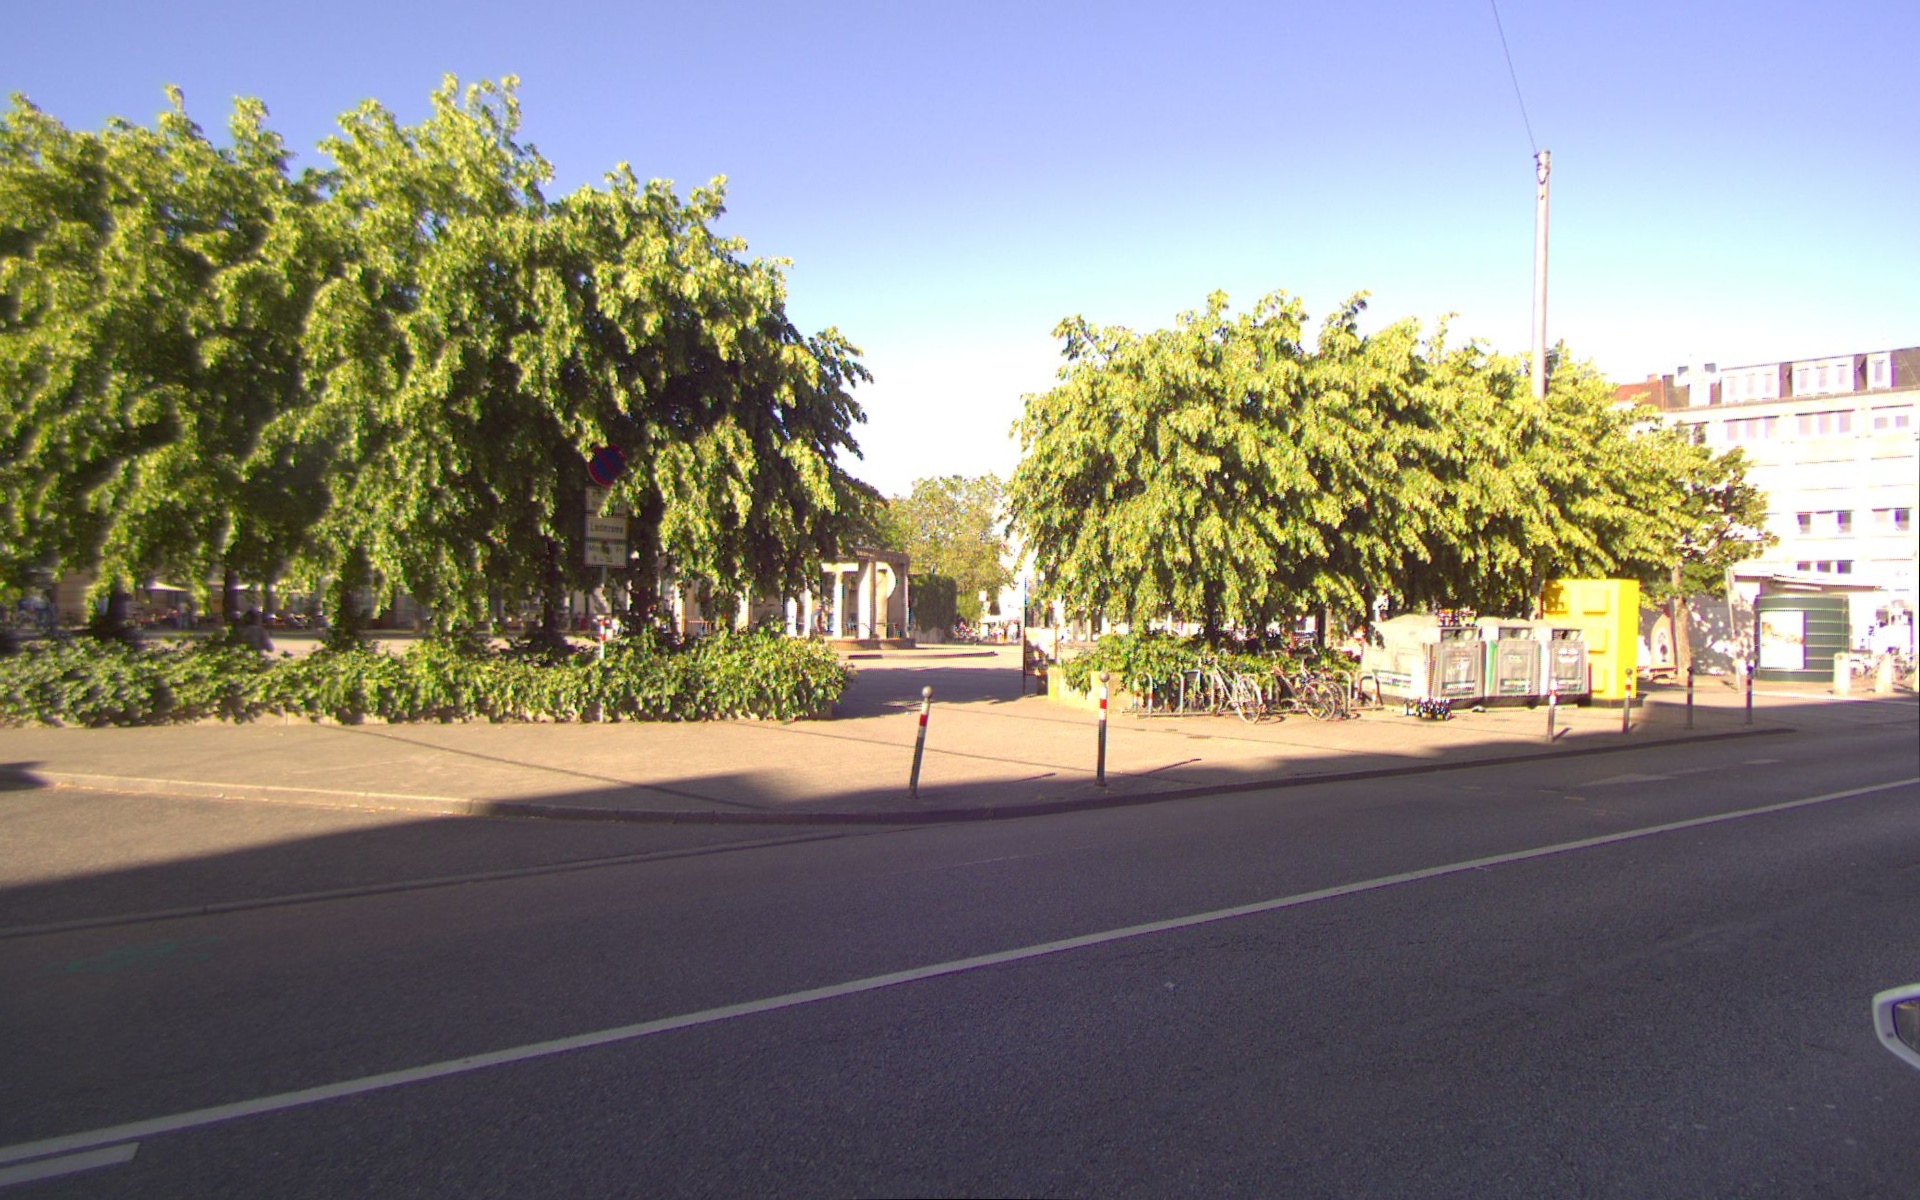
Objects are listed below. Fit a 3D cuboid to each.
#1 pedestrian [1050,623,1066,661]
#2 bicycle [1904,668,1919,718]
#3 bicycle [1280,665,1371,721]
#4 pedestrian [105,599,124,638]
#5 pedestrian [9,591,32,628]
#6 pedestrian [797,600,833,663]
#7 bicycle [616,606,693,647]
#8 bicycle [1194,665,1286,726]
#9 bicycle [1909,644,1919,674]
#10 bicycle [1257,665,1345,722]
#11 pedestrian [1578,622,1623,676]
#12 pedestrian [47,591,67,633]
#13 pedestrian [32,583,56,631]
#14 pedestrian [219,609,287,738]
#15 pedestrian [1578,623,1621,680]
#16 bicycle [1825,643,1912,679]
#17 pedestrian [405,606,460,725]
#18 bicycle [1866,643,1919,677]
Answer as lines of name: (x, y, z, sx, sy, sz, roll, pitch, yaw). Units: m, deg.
pedestrian: (5.373, 2.320, 55.173, 0.670, 2.040, 0.579, 2, 0, -23)
bicycle: (19.291, 1.835, 19.099, 0.619, 0.958, 1.862, 1, 0, -18)
bicycle: (5.956, 1.496, 16.415, 0.468, 0.779, 1.468, 2, 0, -27)
pedestrian: (-39.680, 0.866, 47.132, 0.597, 1.816, 0.575, 2, 0, -44)
pedestrian: (-46.882, 0.489, 50.128, 0.571, 1.816, 0.601, 1, 0, 19)
pedestrian: (-4.201, 0.904, 29.104, 0.918, 1.775, 0.728, 2, 0, -15)
bicycle: (-8.225, 0.693, 27.025, 2.018, 1.030, 0.504, 1, 0, 16)
bicycle: (4.271, 1.437, 15.421, 0.467, 0.779, 1.653, 2, 0, -20)
bicycle: (37.126, 2.248, 37.705, 0.796, 1.119, 2.072, 1, -1, -30)
bicycle: (5.466, 1.478, 16.156, 0.435, 0.779, 1.469, 2, 0, -25)
pedestrian: (20.440, 1.555, 32.067, 0.727, 1.658, 0.983, 1, 0, -26)
pedestrian: (-39.344, 0.517, 43.758, 0.579, 1.816, 0.593, 2, 0, -44)
pedestrian: (-34.917, 0.263, 38.293, 0.597, 1.816, 0.576, 2, 0, -40)
pedestrian: (-10.706, 1.096, 15.231, 0.722, 1.881, 0.578, 2, 0, -28)
pedestrian: (20.361, 1.632, 31.969, 0.734, 1.748, 0.898, 1, 0, -26)
bicycle: (30.858, 2.066, 34.152, 0.796, 1.119, 2.072, 1, -1, -30)
pedestrian: (-8.622, 1.048, 16.424, 0.574, 1.881, 0.598, 1, 0, 41)
bicycle: (33.163, 2.113, 35.126, 0.796, 1.119, 2.072, 1, -1, -30)
